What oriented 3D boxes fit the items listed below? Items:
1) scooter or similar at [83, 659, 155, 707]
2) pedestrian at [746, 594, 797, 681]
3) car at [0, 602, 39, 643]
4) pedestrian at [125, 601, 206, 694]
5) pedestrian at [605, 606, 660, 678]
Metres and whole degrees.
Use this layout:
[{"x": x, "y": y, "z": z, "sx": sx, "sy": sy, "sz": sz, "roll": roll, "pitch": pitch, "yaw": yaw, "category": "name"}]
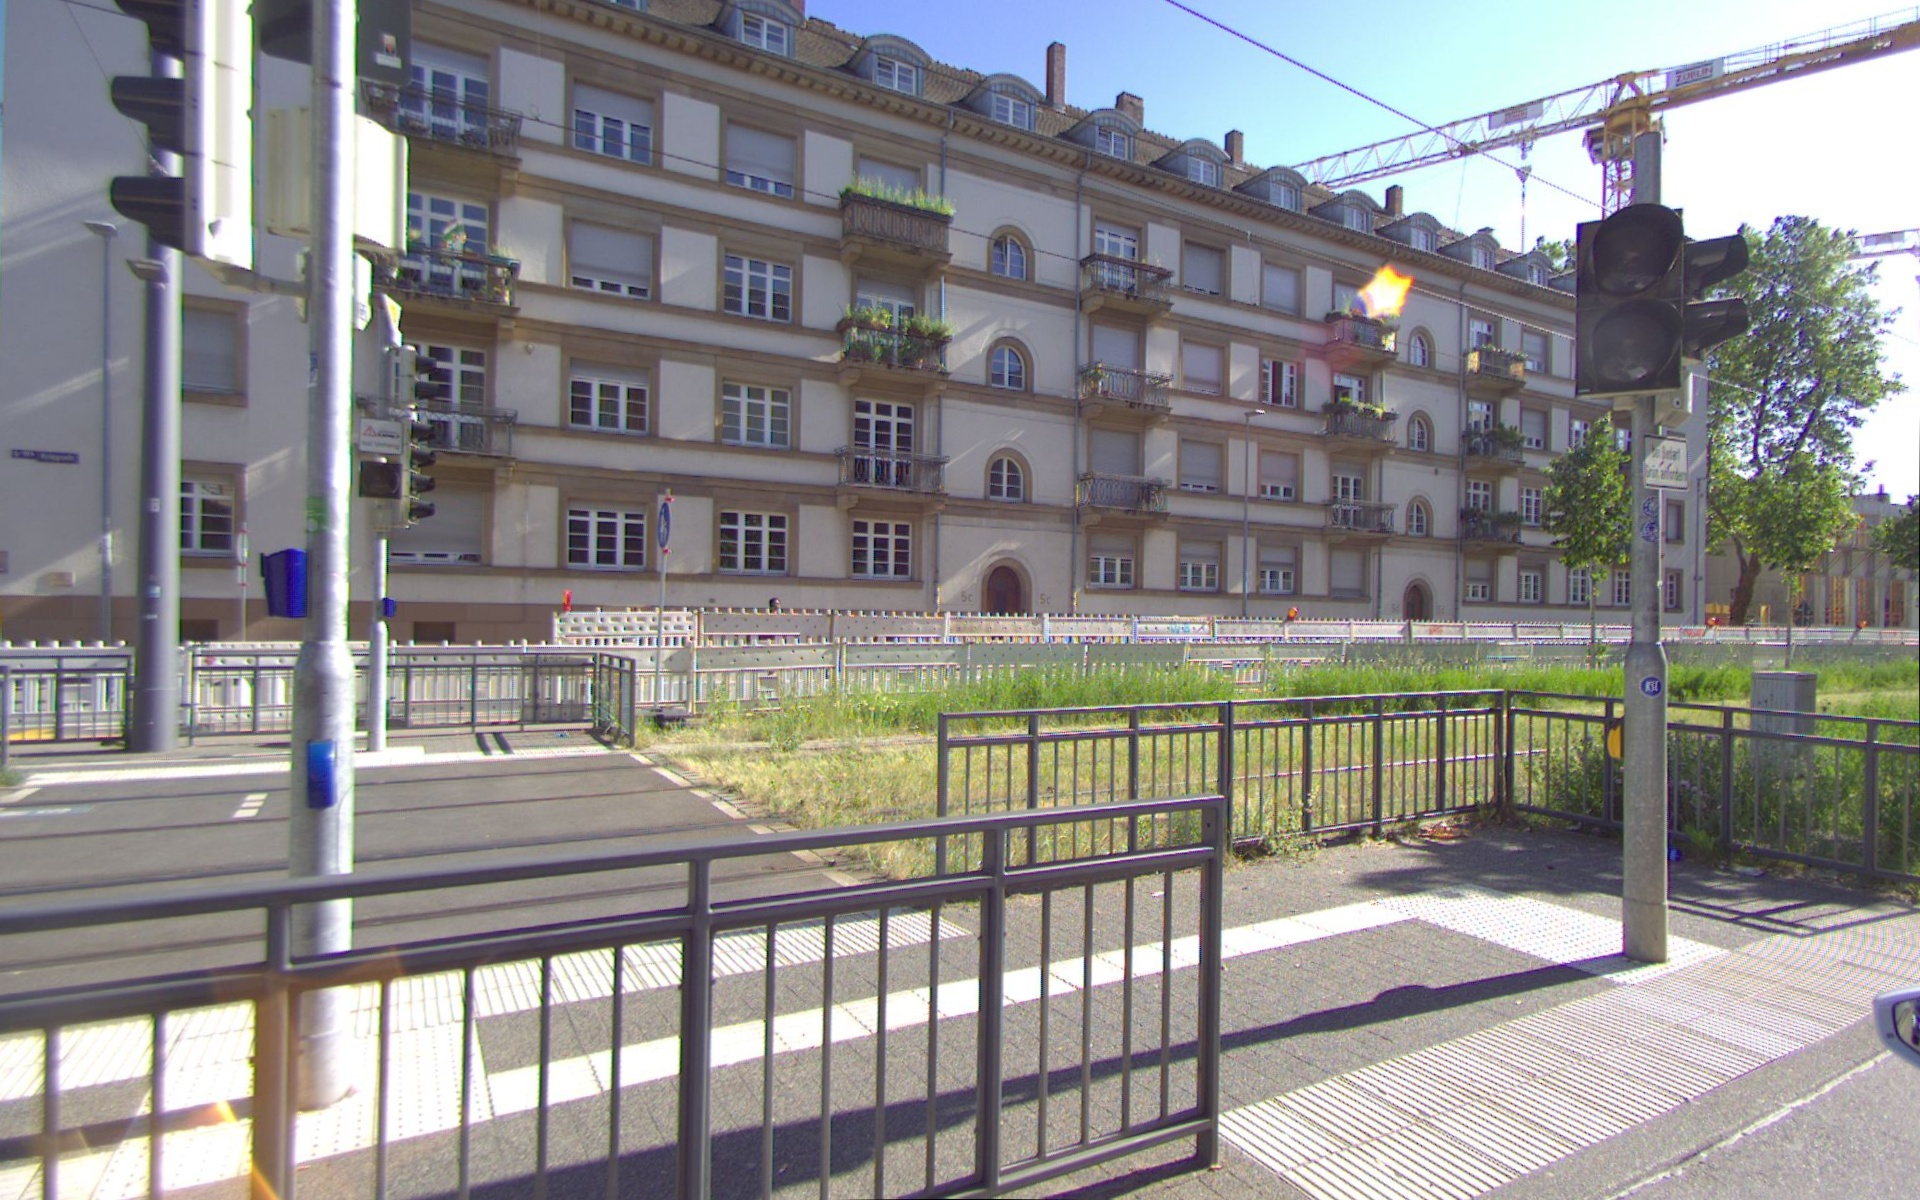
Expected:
[{"x": -13.716, "y": 1.340, "z": 16.385, "sx": 0.697, "sy": 0.729, "sz": 0.607, "roll": 0, "pitch": -1, "yaw": 16, "category": "scooter or similar"}, {"x": -4.194, "y": 0.834, "z": 22.370, "sx": 0.861, "sy": 1.888, "sz": 0.763, "roll": 2, "pitch": 0, "yaw": -30, "category": "pedestrian"}, {"x": -39.317, "y": 0.872, "z": 39.810, "sx": 3.965, "sy": 1.576, "sz": 1.848, "roll": 2, "pitch": 0, "yaw": -39, "category": "car"}, {"x": -13.487, "y": 0.795, "z": 17.067, "sx": 0.697, "sy": 1.524, "sz": 0.806, "roll": 0, "pitch": -1, "yaw": 17, "category": "pedestrian"}, {"x": -7.314, "y": 0.929, "z": 22.420, "sx": 1.009, "sy": 1.538, "sz": 0.783, "roll": 2, "pitch": 0, "yaw": -30, "category": "pedestrian"}]
